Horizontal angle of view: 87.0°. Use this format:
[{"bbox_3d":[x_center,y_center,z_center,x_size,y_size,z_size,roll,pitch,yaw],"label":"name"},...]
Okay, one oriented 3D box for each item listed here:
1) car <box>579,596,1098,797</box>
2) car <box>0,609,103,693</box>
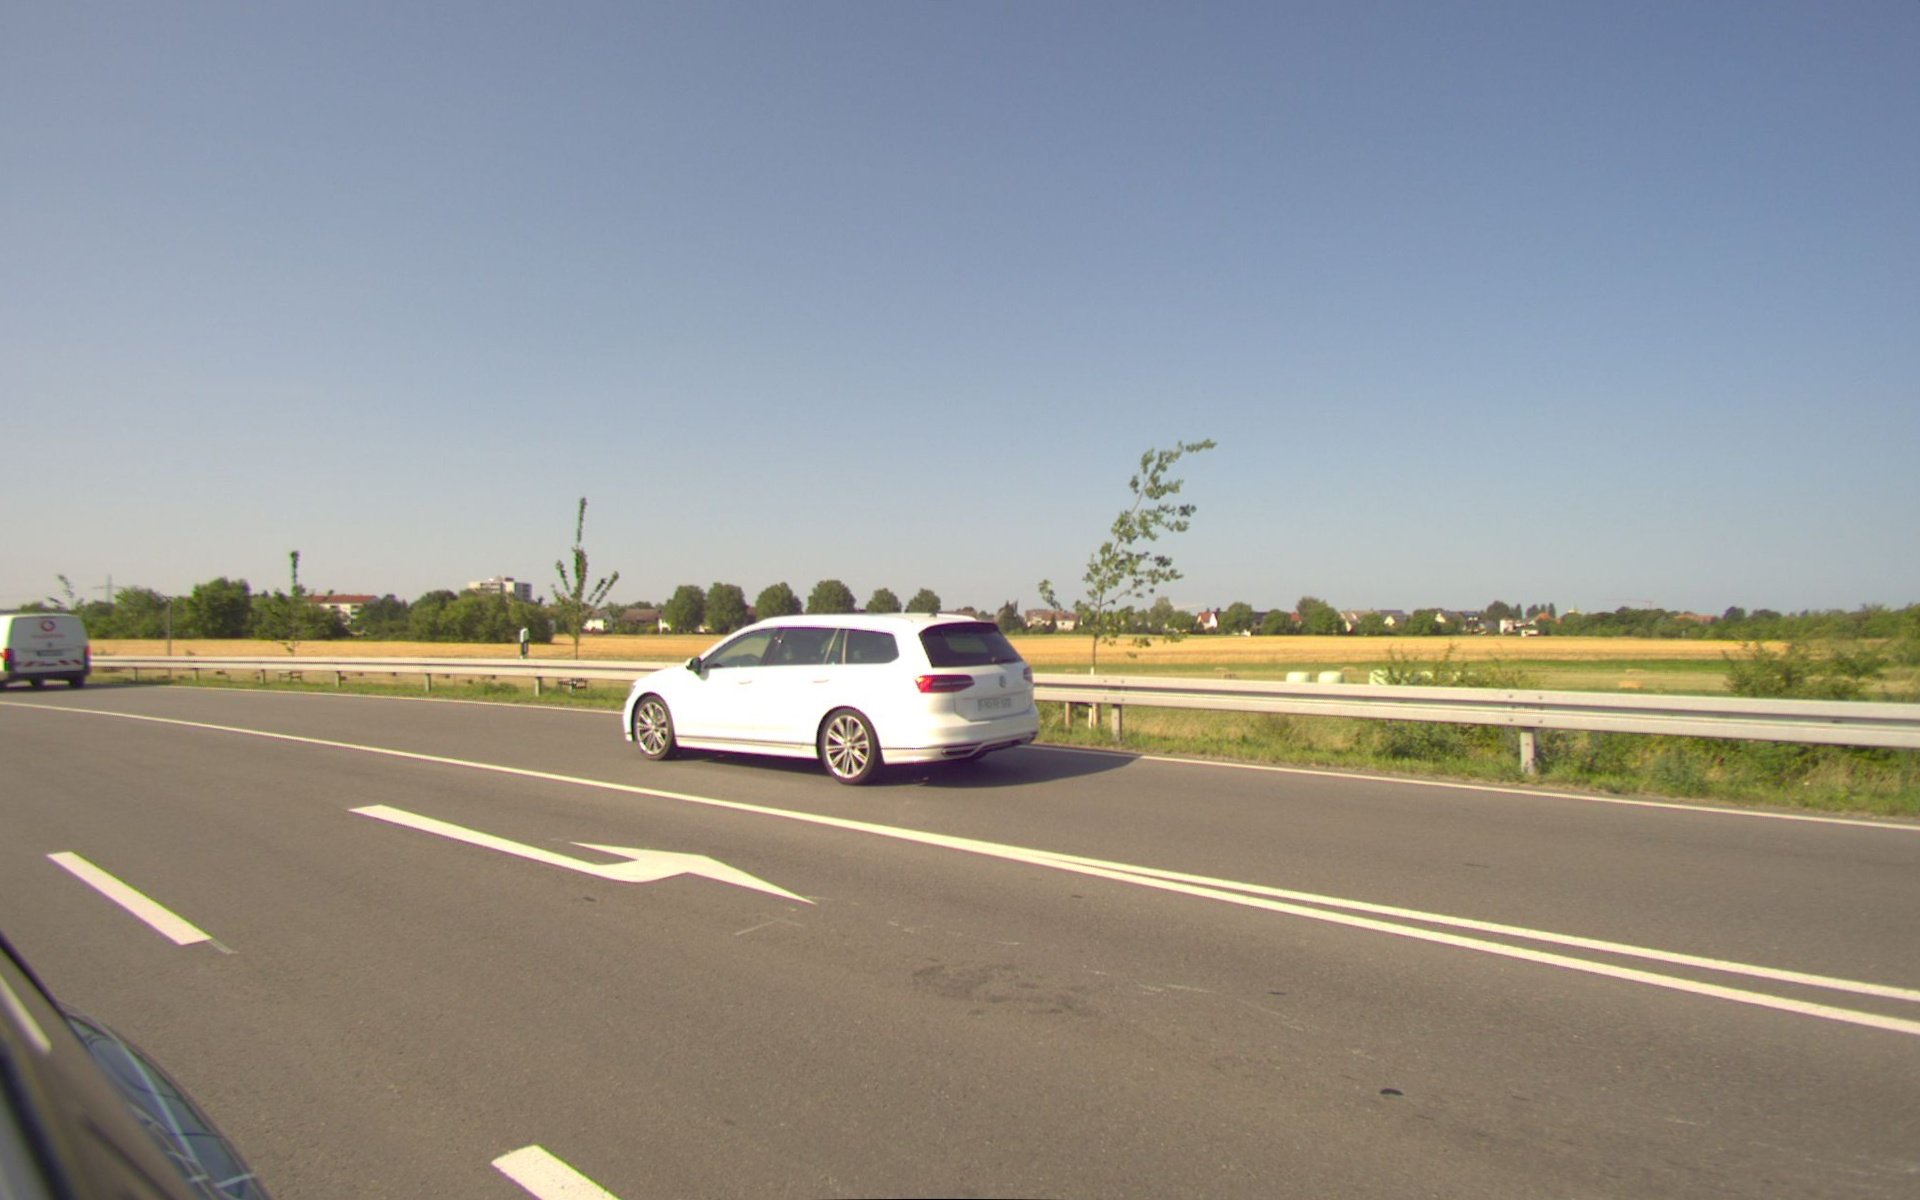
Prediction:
[{"bbox_3d":[-1.413,0.888,10.145,5.145,1.504,2.095,-4,-2,38],"label":"car"},{"bbox_3d":[-25.229,1.416,27.012,5.135,2.029,2.099,-4,-2,32],"label":"car"}]
